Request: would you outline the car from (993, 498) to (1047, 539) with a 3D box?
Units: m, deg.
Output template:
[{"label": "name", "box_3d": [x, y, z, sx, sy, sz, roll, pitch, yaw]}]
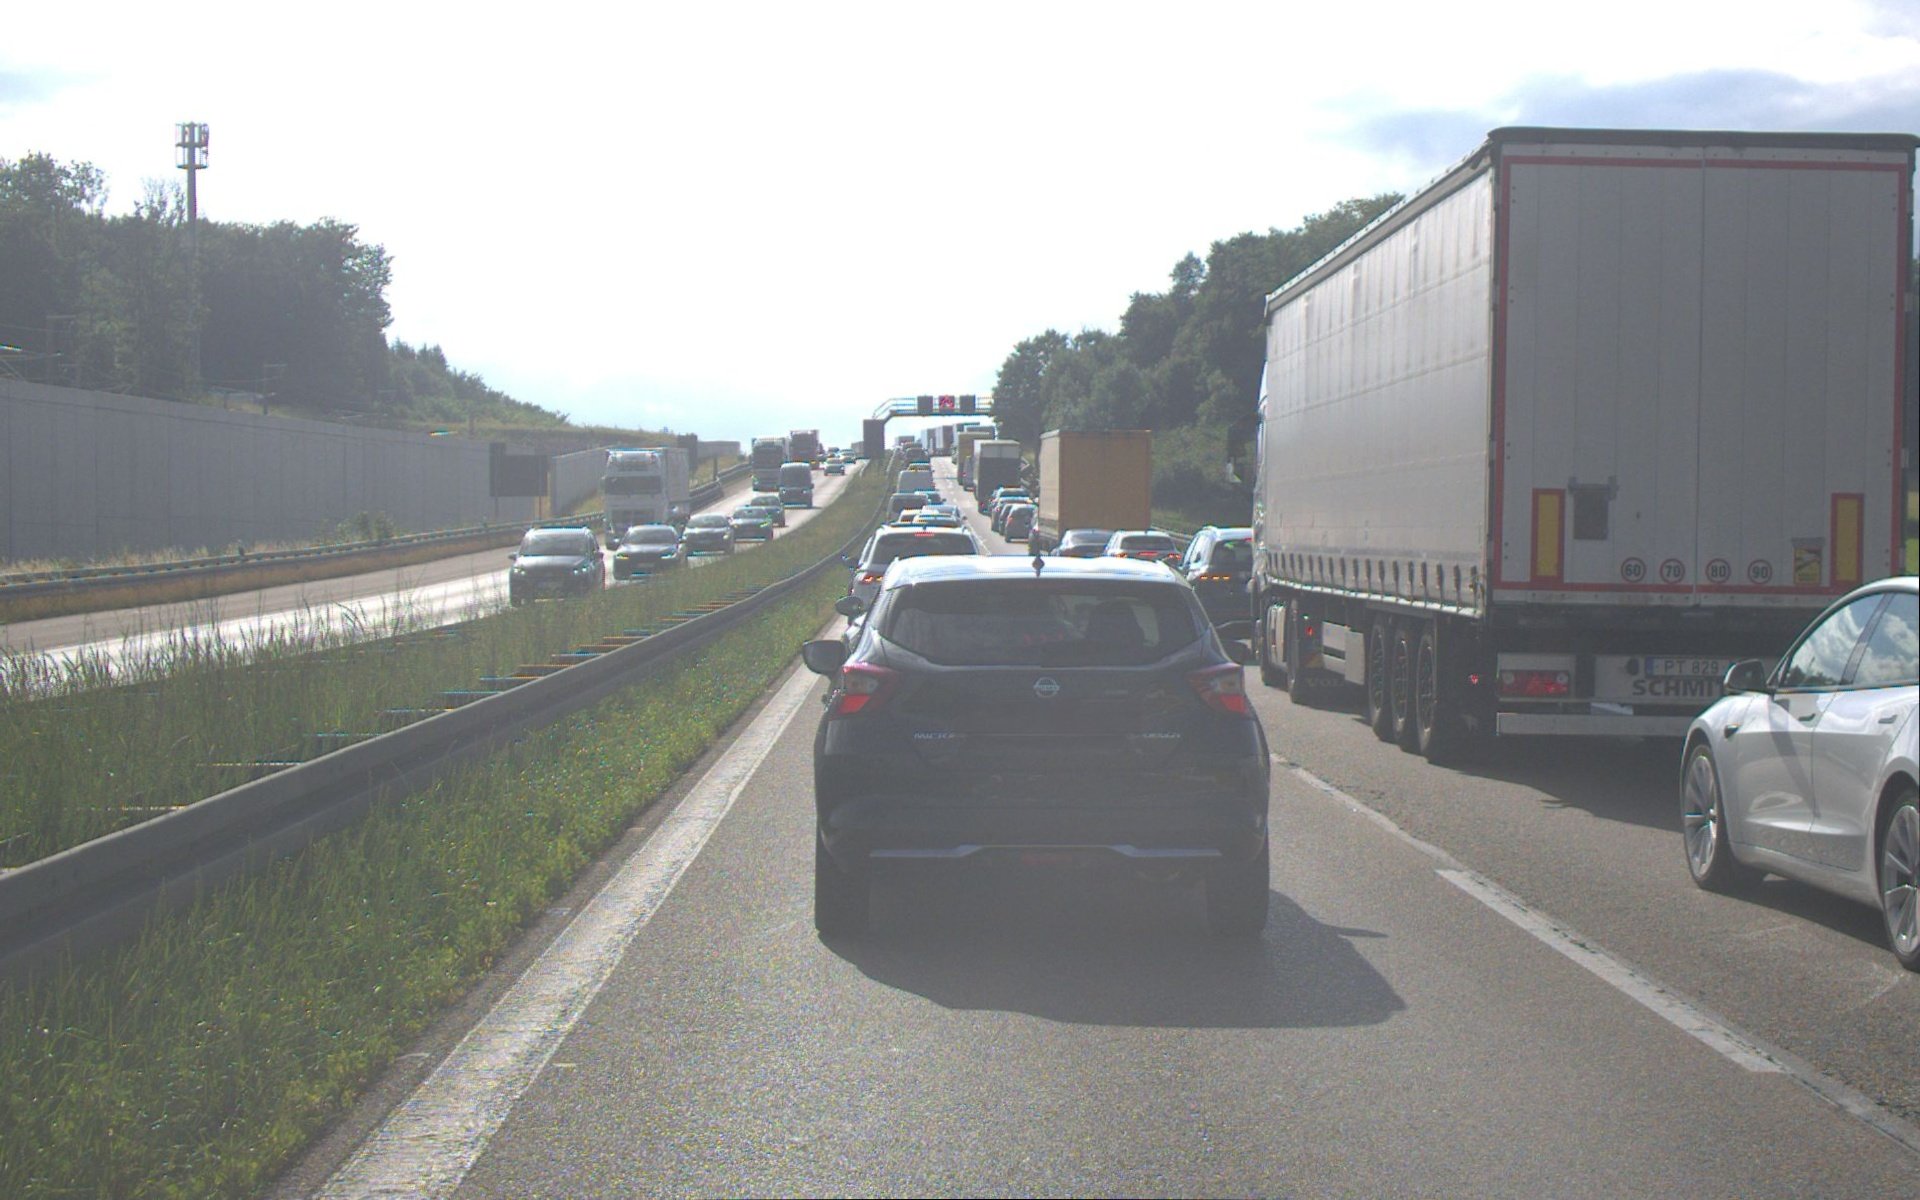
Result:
[{"label": "car", "box_3d": [2.474, -3.402, 142.991, 1.873, 1.638, 4.233, 0, 2, -4]}]

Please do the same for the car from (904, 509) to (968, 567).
[{"label": "car", "box_3d": [-0.716, -1.869, 102.496, 1.873, 1.638, 4.233, 0, 2, 0]}]

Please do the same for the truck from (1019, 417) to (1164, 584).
[{"label": "truck", "box_3d": [3.715, -2.774, 100.745, 3.296, 4.562, 12.441, 1, 0, -2]}]

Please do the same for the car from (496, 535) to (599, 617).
[{"label": "car", "box_3d": [-8.943, -0.536, 74.850, 1.781, 1.731, 4.102, 0, 1, 0]}]

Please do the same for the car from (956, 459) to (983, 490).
[{"label": "car", "box_3d": [0.703, -9.344, 255.148, 1.873, 2.151, 5.212, 0, 4, -1]}]

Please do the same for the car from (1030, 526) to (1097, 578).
[{"label": "car", "box_3d": [3.355, -1.590, 111.917, 1.873, 1.638, 4.233, 0, 1, -2]}]

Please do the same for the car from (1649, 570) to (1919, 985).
[{"label": "car", "box_3d": [4.123, 0.604, 13.427, 1.788, 1.389, 4.437, 0, 1, -3]}]

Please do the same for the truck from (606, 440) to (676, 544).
[{"label": "truck", "box_3d": [-13.226, -4.453, 142.807, 2.380, 4.167, 5.932, -1, 1, -1]}]

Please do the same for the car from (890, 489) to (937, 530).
[{"label": "car", "box_3d": [-1.965, -3.786, 143.979, 1.873, 1.638, 4.233, 0, 2, -2]}]

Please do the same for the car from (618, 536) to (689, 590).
[{"label": "car", "box_3d": [-8.751, -1.066, 98.434, 1.697, 1.494, 4.427, 0, 1, -1]}]

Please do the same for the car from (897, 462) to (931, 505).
[{"label": "car", "box_3d": [-2.515, -6.389, 188.049, 1.873, 2.151, 5.212, 0, 4, -1]}]

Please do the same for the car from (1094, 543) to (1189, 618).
[{"label": "car", "box_3d": [4.076, -0.463, 77.695, 1.873, 1.638, 4.232, 0, 1, 0]}]

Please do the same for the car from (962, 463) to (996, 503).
[{"label": "car", "box_3d": [1.072, -6.825, 200.132, 1.873, 2.151, 5.212, 0, 4, -1]}]

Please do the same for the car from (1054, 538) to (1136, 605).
[{"label": "car", "box_3d": [3.388, -0.744, 87.108, 1.873, 1.638, 4.232, 0, 1, 0]}]

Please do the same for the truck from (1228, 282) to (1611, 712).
[{"label": "truck", "box_3d": [4.512, -0.967, 34.835, 3.133, 4.002, 5.163, 1, 0, 0]}]

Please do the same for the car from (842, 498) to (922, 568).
[{"label": "car", "box_3d": [-1.881, -1.645, 83.681, 1.873, 1.638, 4.233, 0, 2, 0]}]

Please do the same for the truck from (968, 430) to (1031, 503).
[{"label": "truck", "box_3d": [2.544, -8.730, 225.605, 3.464, 4.561, 12.443, 1, 2, -2]}]

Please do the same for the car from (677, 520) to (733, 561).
[{"label": "car", "box_3d": [-9.401, -2.192, 126.935, 1.769, 1.474, 3.829, 0, 1, 0]}]

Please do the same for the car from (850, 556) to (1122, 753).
[{"label": "car", "box_3d": [0.164, 0.346, 25.791, 1.873, 1.353, 4.232, 0, 1, 0]}]

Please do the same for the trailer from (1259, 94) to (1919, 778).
[{"label": "trailer", "box_3d": [4.524, -0.955, 26.947, 3.130, 3.997, 13.366, 1, 0, 0]}]

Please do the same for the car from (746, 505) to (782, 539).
[{"label": "car", "box_3d": [-10.038, -3.993, 176.313, 1.708, 1.700, 4.174, 0, 1, -1]}]

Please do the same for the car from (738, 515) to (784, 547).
[{"label": "car", "box_3d": [-8.502, -2.937, 147.132, 1.742, 1.353, 4.232, 0, 1, 0]}]

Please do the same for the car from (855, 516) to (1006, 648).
[{"label": "car", "box_3d": [-0.388, -0.248, 44.847, 1.873, 1.638, 4.232, 0, 1, 0]}]

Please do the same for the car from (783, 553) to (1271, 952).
[{"label": "car", "box_3d": [0.228, 0.526, 14.607, 1.773, 1.446, 4.232, 0, 1, 0]}]

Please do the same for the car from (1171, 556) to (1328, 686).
[{"label": "car", "box_3d": [3.704, 0.233, 44.600, 1.697, 1.605, 4.437, 0, 1, 1]}]
